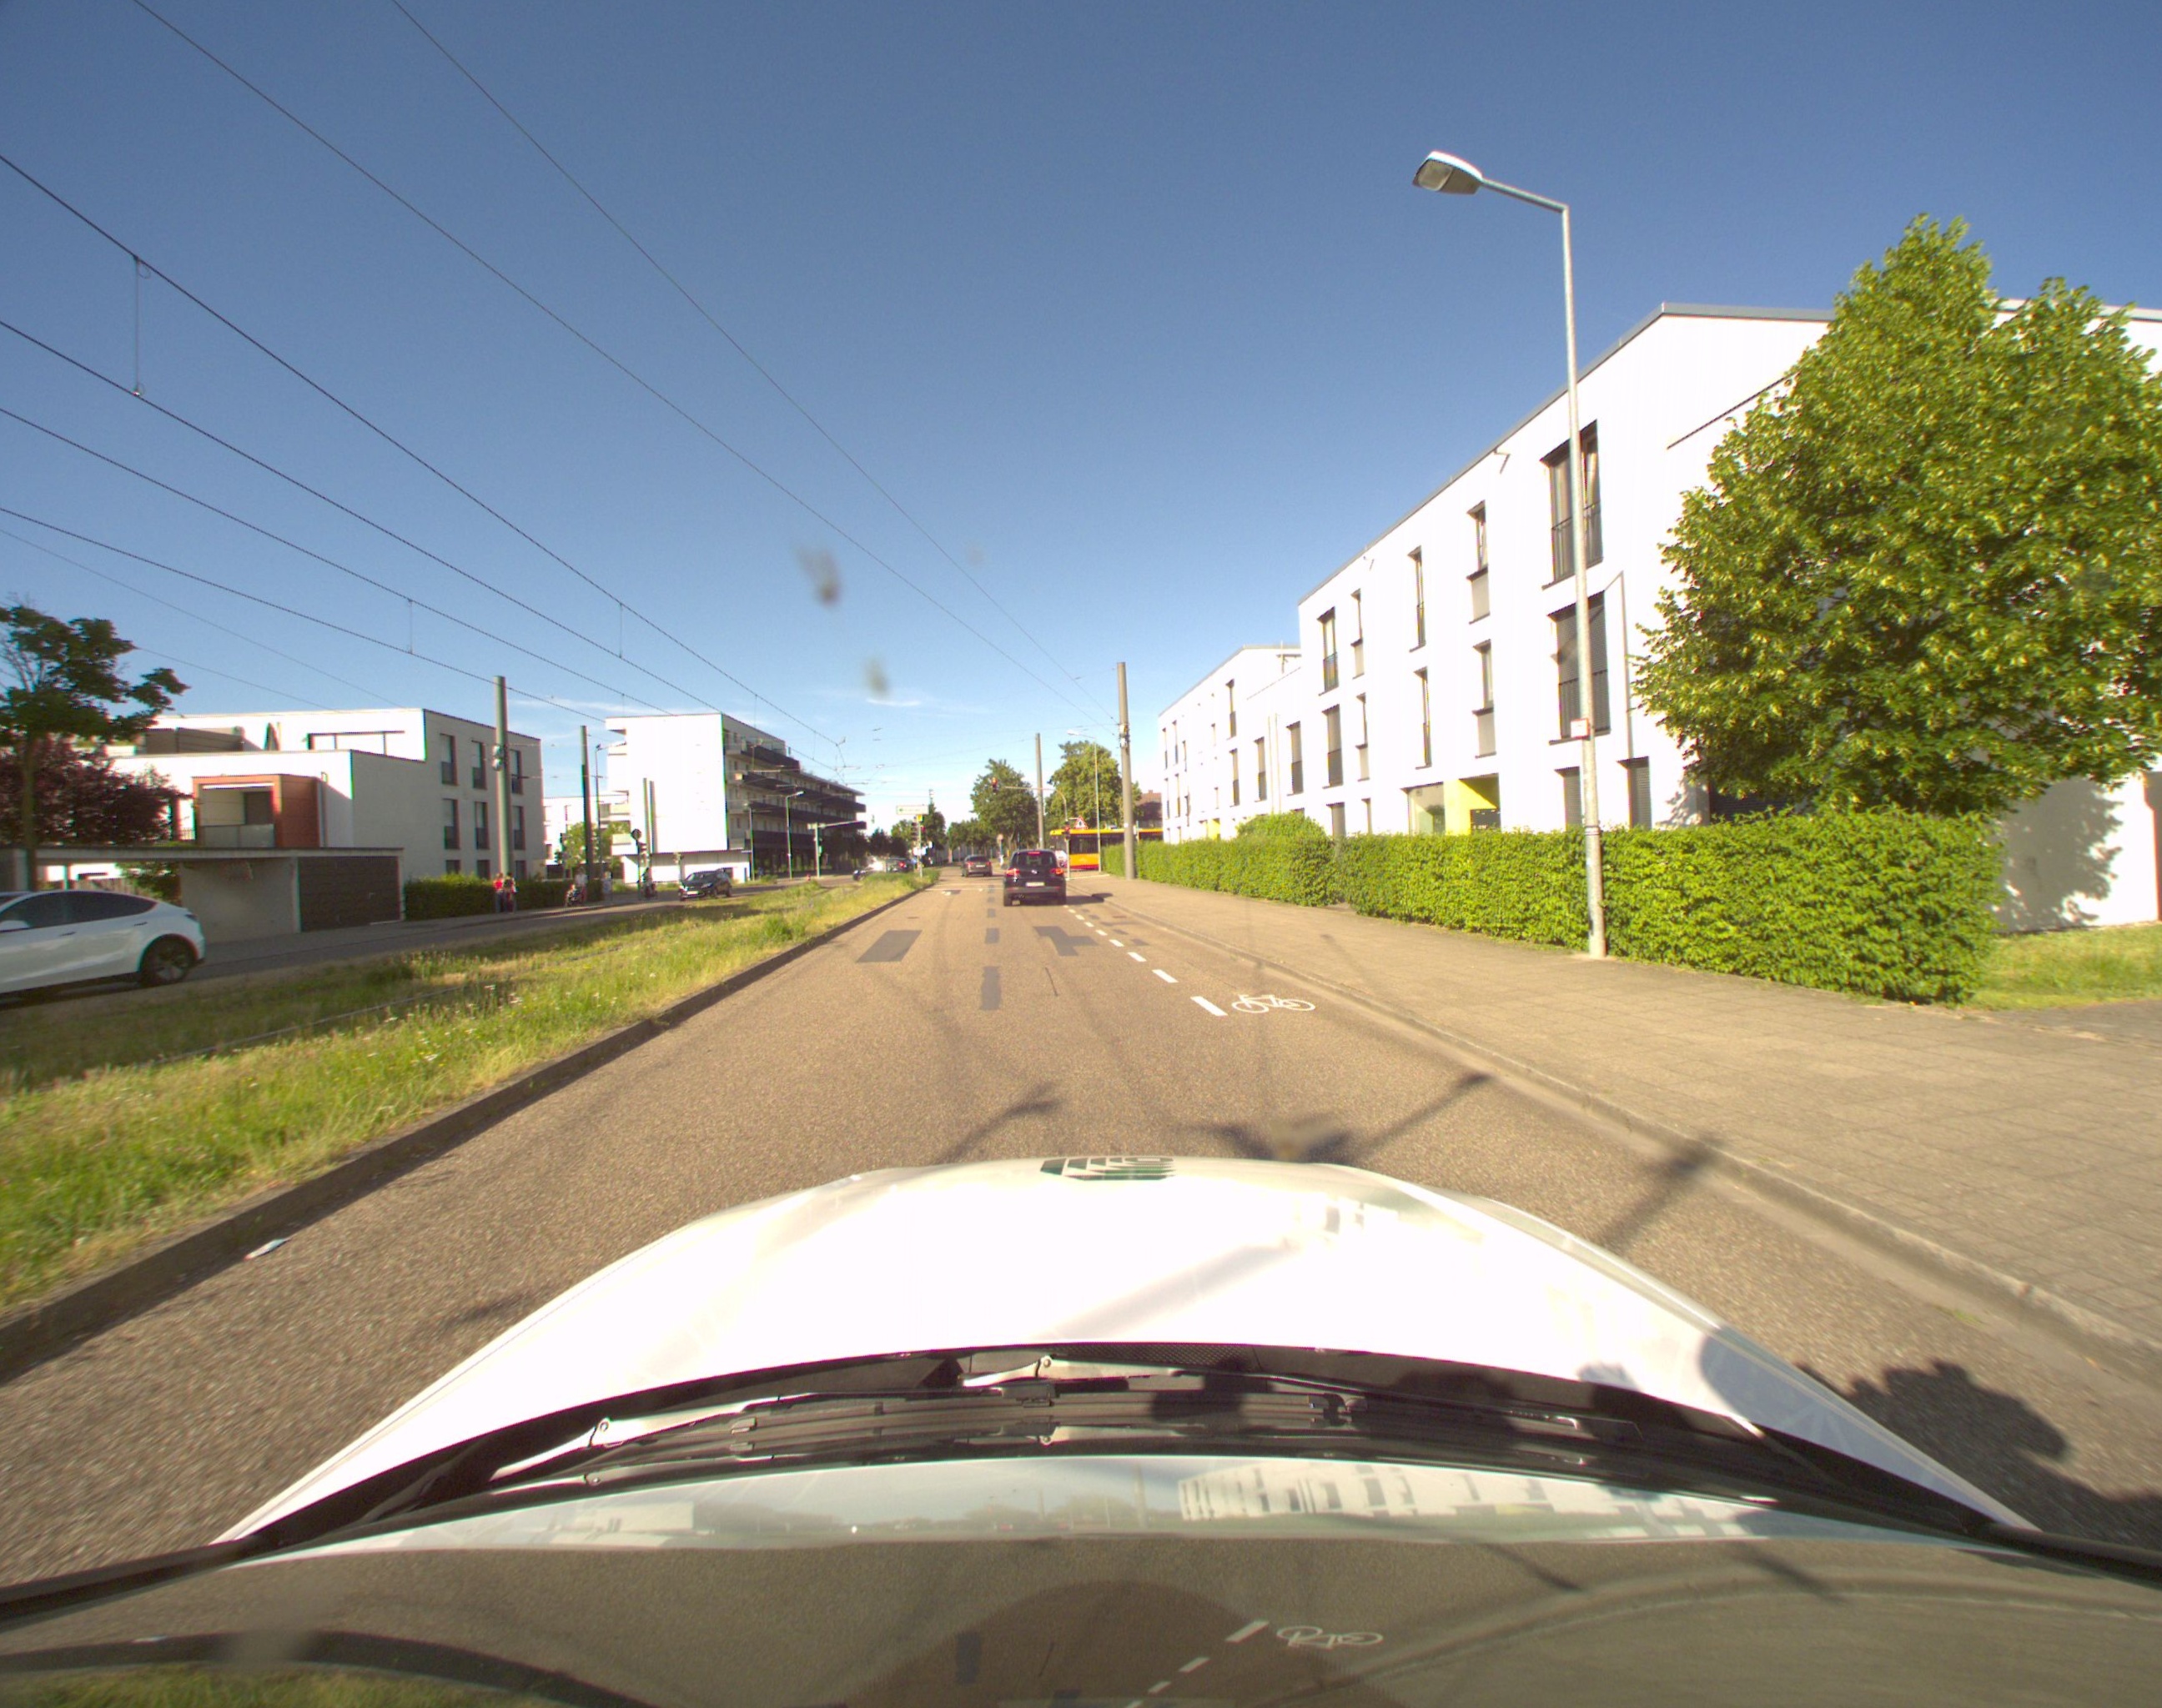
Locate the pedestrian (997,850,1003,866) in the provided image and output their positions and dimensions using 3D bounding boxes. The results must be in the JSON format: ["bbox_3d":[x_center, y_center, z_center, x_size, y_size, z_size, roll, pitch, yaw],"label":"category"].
[{"bbox_3d":[-8.502,0.418,85.599,0.601,1.640,0.528,-1,0,-1],"label":"pedestrian"}]

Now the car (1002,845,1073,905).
[{"bbox_3d":[-1.408,0.576,24.871,1.904,1.642,3.990,-1,0,-7],"label":"car"}]

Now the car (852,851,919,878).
[{"bbox_3d":[-12.727,0.690,53.099,3.707,1.430,1.713,-4,1,7],"label":"car"}]

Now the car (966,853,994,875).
[{"bbox_3d":[-6.738,0.625,54.203,1.749,1.387,3.990,-1,0,-7],"label":"car"}]

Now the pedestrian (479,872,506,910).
[{"bbox_3d":[-23.746,1.480,32.884,0.556,1.464,0.741,-1,0,-4],"label":"pedestrian"}]

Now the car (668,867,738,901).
[{"bbox_3d":[-18.769,1.449,40.634,1.785,1.418,3.993,-4,1,-5],"label":"car"}]

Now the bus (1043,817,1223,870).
[{"bbox_3d":[4.268,-0.916,61.710,14.736,3.671,2.819,-1,0,-33],"label":"bus"}]

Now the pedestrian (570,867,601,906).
[{"bbox_3d":[-23.063,1.522,37.922,0.813,1.748,0.909,-1,0,-1],"label":"pedestrian"}]

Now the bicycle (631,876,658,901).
[{"bbox_3d":[-23.950,1.874,44.721,0.796,1.221,2.686,-1,0,-19],"label":"bicycle"}]

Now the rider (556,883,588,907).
[{"bbox_3d":[-23.063,1.843,36.924,0.775,1.003,1.045,-1,0,-1],"label":"rider"}]

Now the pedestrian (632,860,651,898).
[{"bbox_3d":[-23.714,1.345,43.968,0.763,2.013,0.665,-1,0,-20],"label":"pedestrian"}]

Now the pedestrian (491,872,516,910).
[{"bbox_3d":[-23.170,1.470,32.685,0.556,1.464,0.611,-1,0,-4],"label":"pedestrian"}]

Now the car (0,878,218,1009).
[{"bbox_3d":[-15.077,1.283,11.078,1.993,1.595,4.634,-5,1,-8],"label":"car"}]

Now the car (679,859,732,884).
[{"bbox_3d":[-33.581,1.561,72.853,4.017,2.013,1.979,-4,1,-34],"label":"car"}]

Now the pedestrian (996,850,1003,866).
[{"bbox_3d":[-8.483,0.423,85.033,0.601,1.640,0.528,-1,0,-1],"label":"pedestrian"}]
